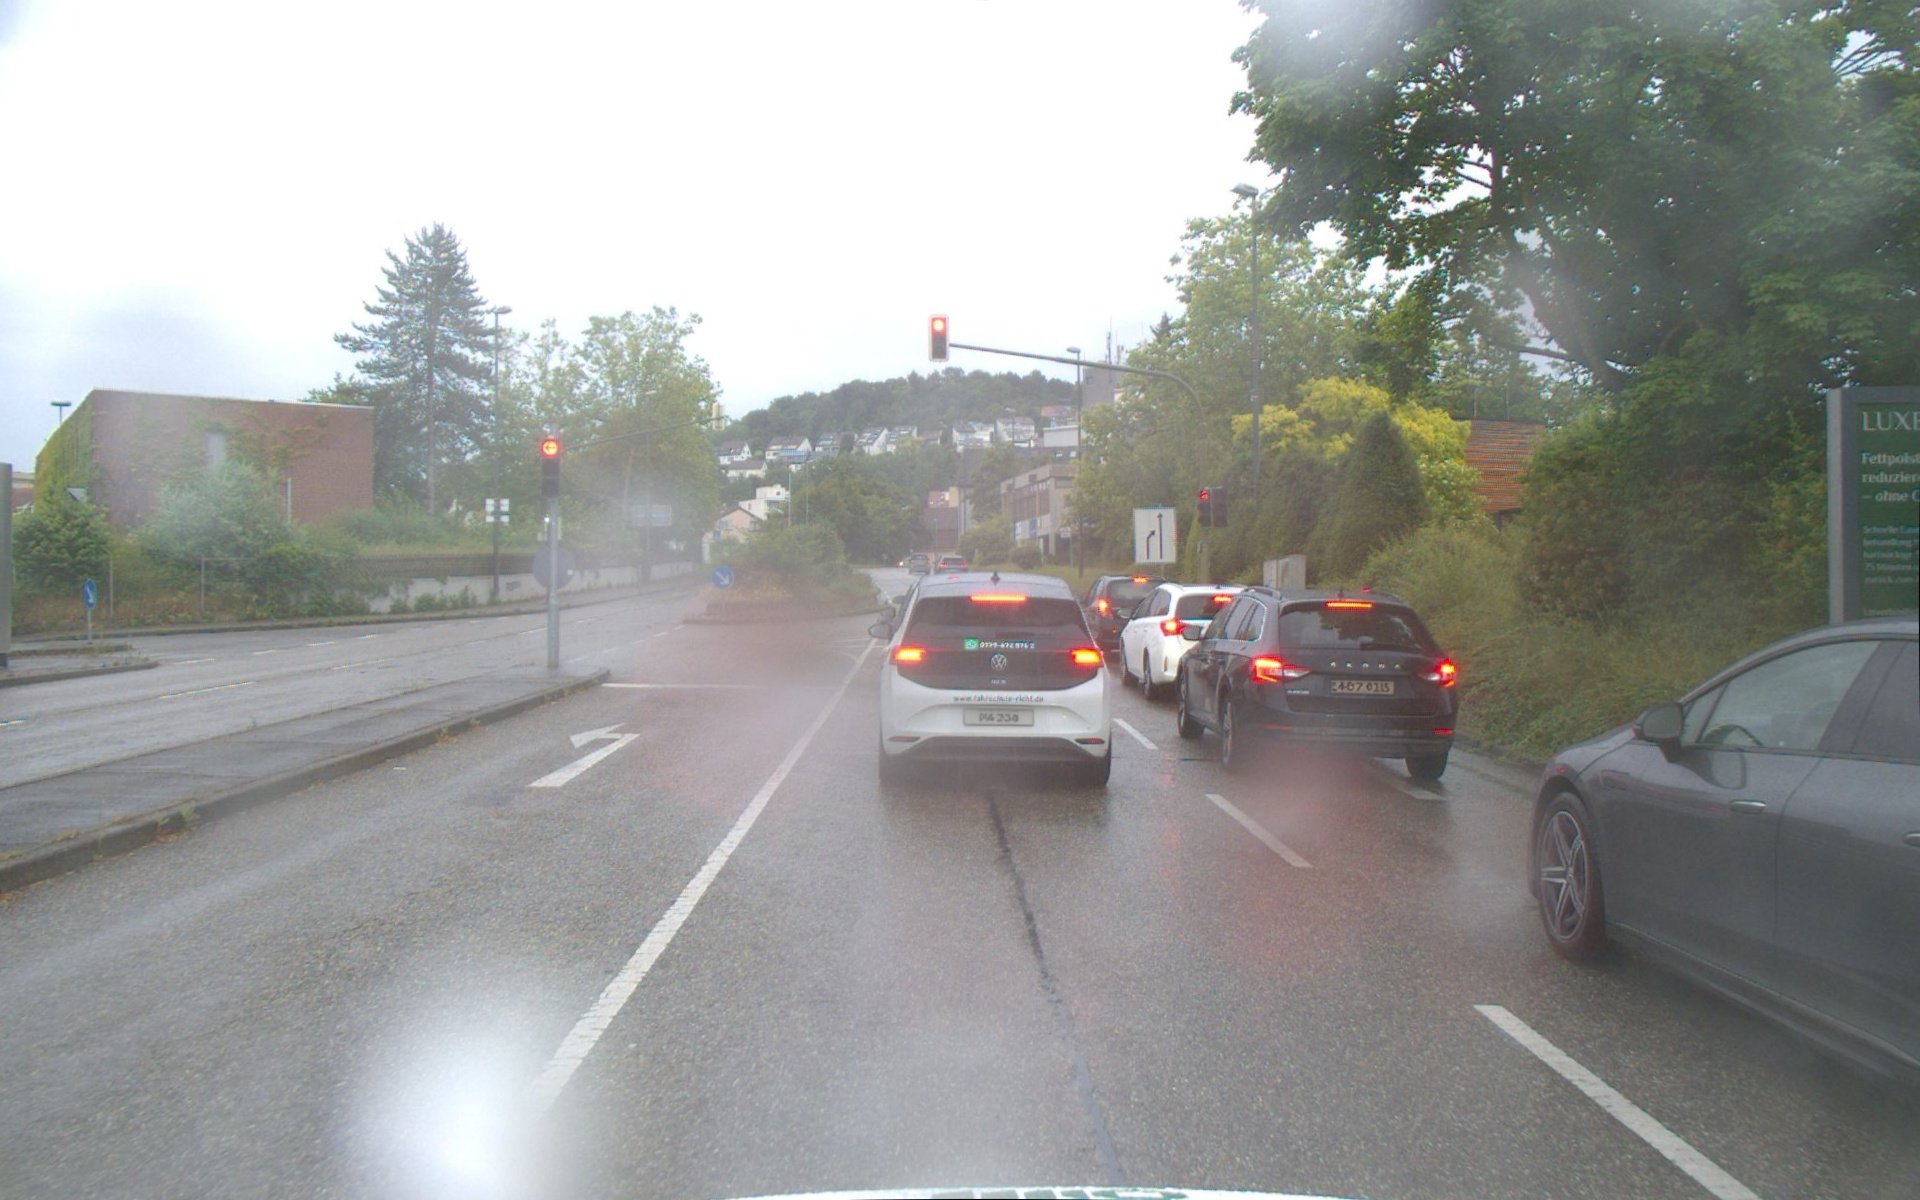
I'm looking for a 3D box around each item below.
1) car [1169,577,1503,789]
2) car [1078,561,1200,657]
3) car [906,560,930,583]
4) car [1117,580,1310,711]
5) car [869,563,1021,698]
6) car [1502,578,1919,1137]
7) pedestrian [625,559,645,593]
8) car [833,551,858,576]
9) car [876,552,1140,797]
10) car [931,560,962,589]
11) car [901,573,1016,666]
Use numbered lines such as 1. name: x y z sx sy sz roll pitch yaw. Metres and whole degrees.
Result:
1. car: 3.059 0.588 14.397 1.800 1.492 4.349 2 1 -1
2. car: 3.203 0.138 30.291 1.739 1.609 4.000 1 0 -1
3. car: -3.161 -2.150 125.237 1.739 1.608 4.000 -2 0 0
4. car: 3.236 0.526 21.863 1.800 1.492 4.116 2 1 -1
5. car: -0.219 0.335 22.065 1.800 1.582 4.174 2 1 -1
6. car: 3.494 0.715 5.333 1.800 1.492 4.807 2 1 -1
7. pedestrian: -15.965 -1.179 81.244 0.744 1.595 0.825 -2 0 -1
8. car: -10.179 -3.251 147.158 1.953 2.049 3.999 1 0 0
9. car: 0.292 0.478 13.836 1.800 1.657 4.615 2 1 -1
10. car: -0.791 -1.447 96.603 1.739 1.608 4.000 -2 0 0
11. car: -0.061 0.290 28.359 1.800 1.424 3.830 2 1 -1
